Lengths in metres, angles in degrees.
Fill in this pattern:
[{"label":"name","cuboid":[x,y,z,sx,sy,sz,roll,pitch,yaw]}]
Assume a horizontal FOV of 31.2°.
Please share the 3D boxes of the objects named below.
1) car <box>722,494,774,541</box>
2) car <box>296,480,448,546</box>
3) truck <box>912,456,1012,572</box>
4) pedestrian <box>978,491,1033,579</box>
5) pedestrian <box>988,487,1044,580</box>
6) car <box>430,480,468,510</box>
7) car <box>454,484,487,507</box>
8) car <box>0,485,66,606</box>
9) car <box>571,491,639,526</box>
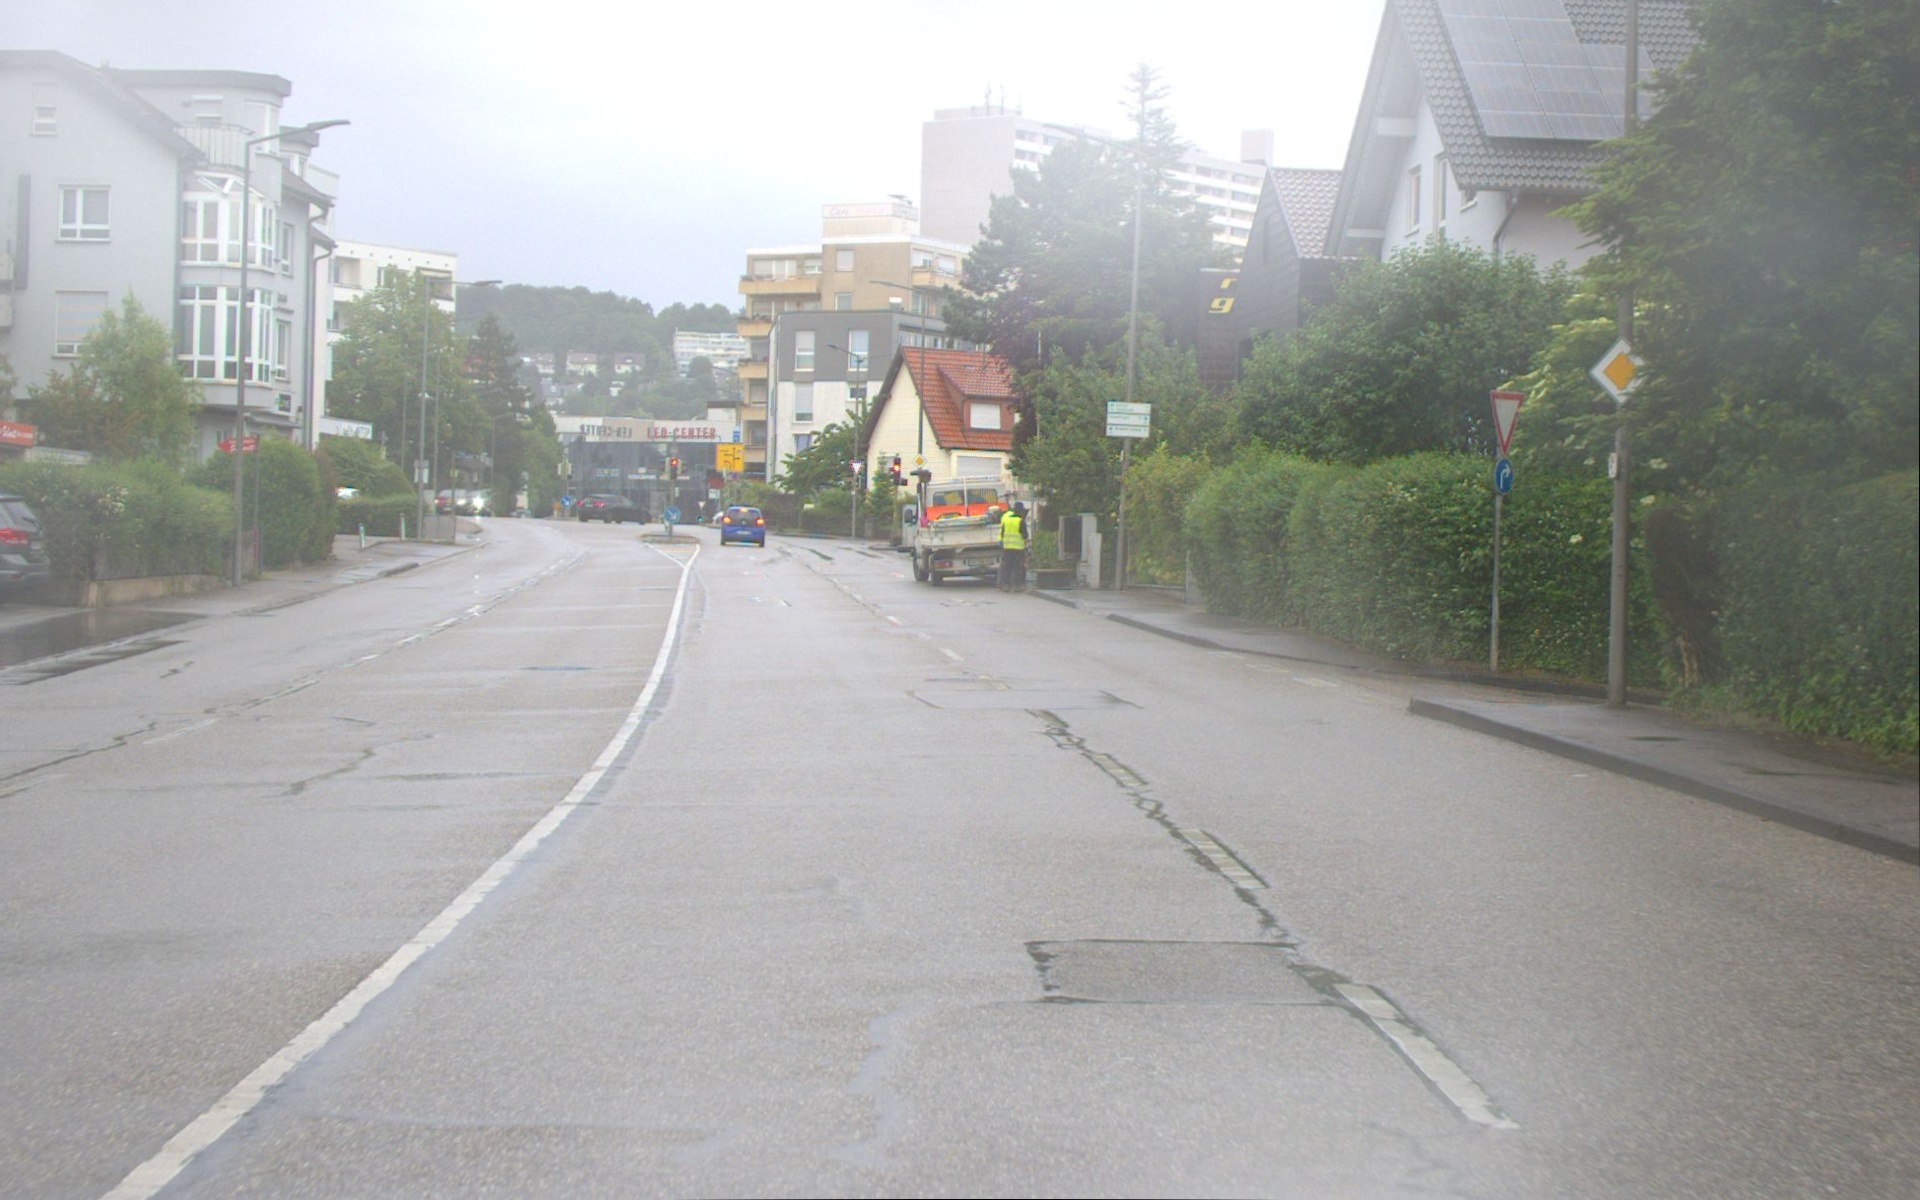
[{"label":"car","cuboid":[-7.810,-3.031,126.798,1.794,1.664,4.000,0,1,-2]},{"label":"car","cuboid":[-19.691,-2.915,115.139,4.524,2.007,1.999,3,1,11]},{"label":"truck","cuboid":[0.047,-1.791,71.504,1.993,2.295,4.000,1,1,0]},{"label":"pedestrian","cuboid":[0.894,-1.282,67.801,0.823,1.720,0.841,0,1,-21]},{"label":"pedestrian","cuboid":[1.082,-1.299,66.866,0.823,1.791,0.800,0,1,-21]},{"label":"car","cuboid":[-27.259,-5.592,183.421,1.659,1.458,4.001,1,1,-3]},{"label":"car","cuboid":[-27.237,-5.800,191.188,1.437,1.231,4.001,2,1,-3]},{"label":"car","cuboid":[-15.009,-0.793,49.010,3.988,1.680,1.808,1,1,6]},{"label":"car","cuboid":[-18.048,-4.658,174.752,1.581,1.433,3.995,5,0,23]}]
